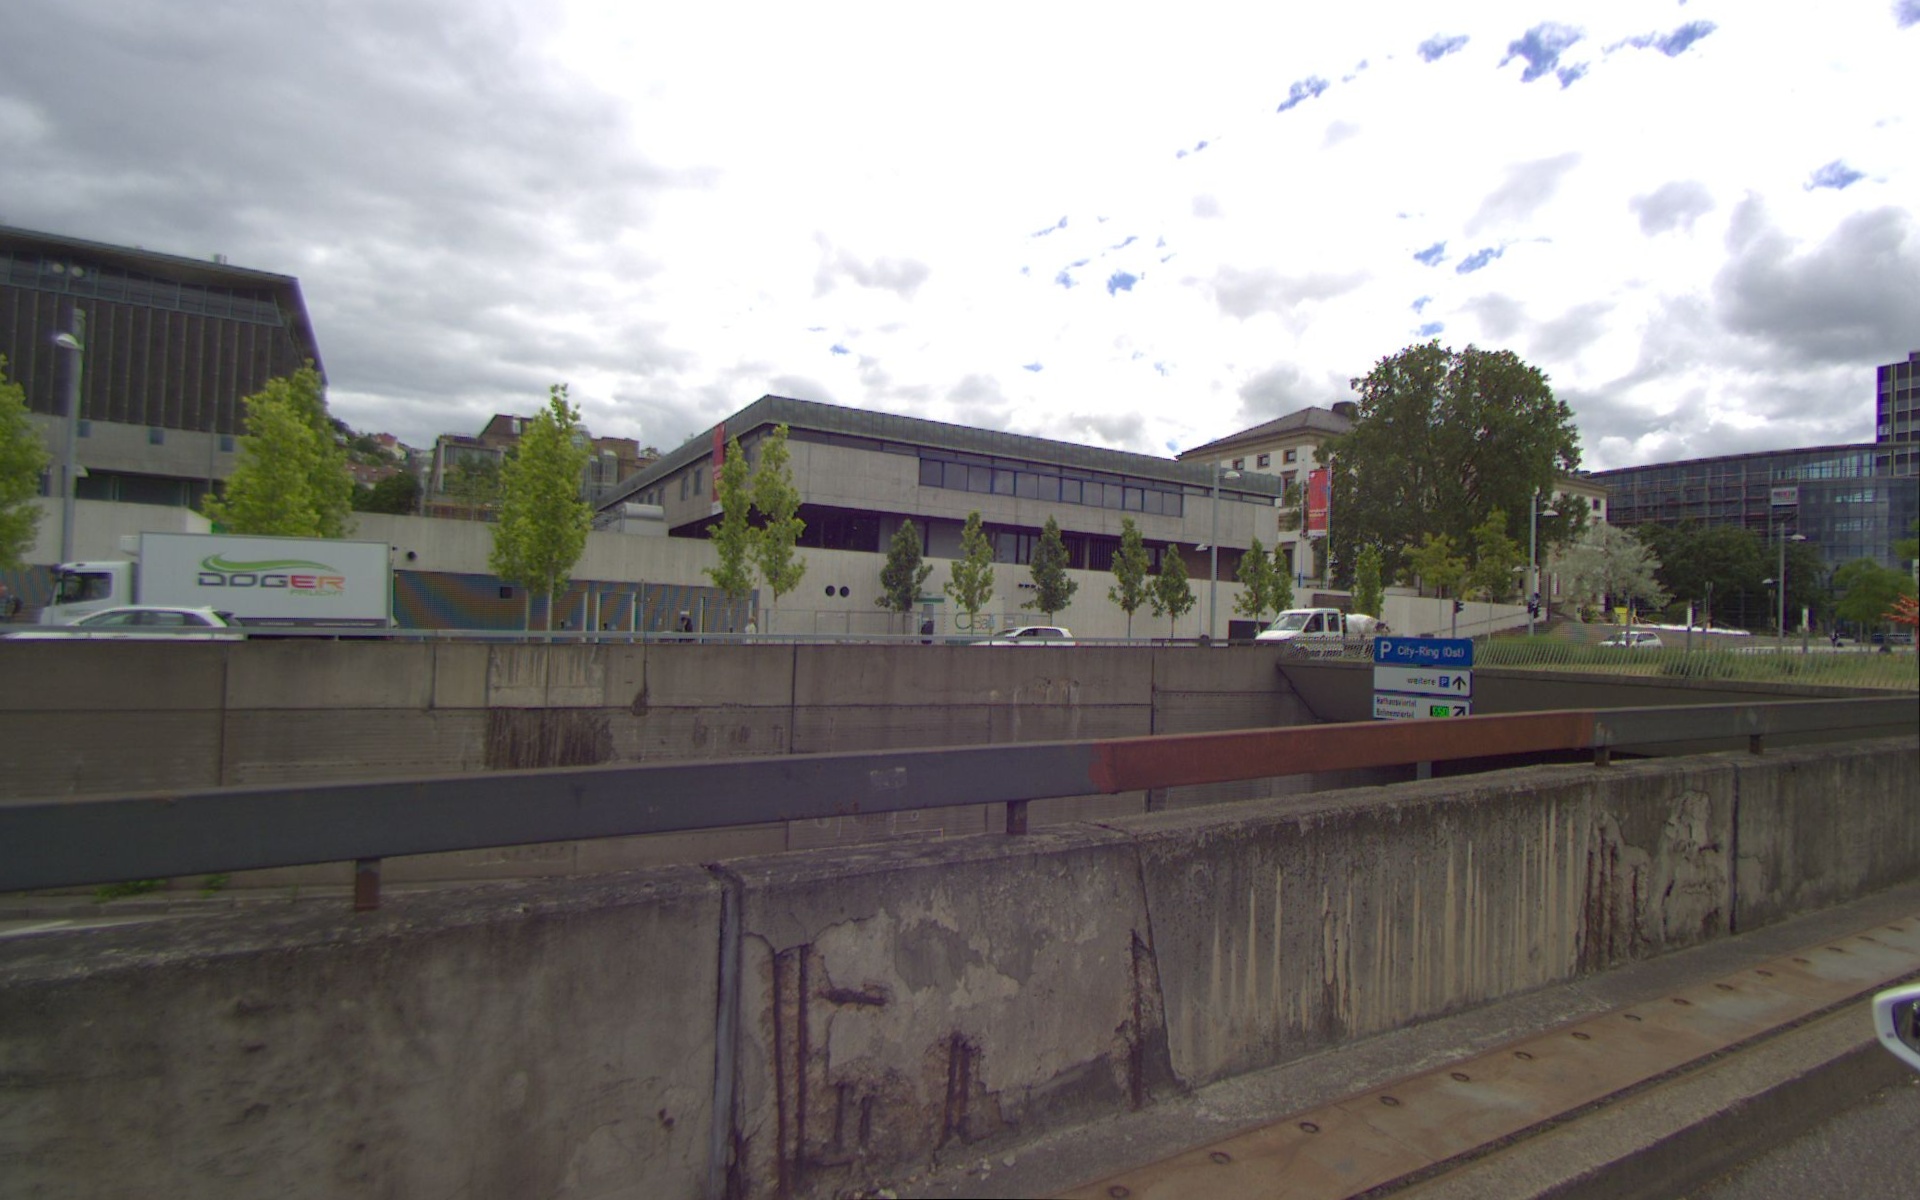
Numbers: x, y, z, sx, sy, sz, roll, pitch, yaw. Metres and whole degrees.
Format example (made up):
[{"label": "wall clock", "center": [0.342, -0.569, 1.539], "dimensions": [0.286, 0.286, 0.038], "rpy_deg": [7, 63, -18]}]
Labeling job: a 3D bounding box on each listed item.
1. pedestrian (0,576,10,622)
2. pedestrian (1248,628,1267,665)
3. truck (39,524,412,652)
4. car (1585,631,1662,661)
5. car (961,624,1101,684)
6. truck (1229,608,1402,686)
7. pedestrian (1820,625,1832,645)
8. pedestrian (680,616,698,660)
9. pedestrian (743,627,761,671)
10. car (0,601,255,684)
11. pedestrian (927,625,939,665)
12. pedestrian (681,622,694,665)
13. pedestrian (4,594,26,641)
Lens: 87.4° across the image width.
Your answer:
[{"label": "pedestrian", "center": [-32.448, -0.036, 33.928], "dimensions": [0.457, 1.542, 0.377], "rpy_deg": [1, 0, -36]}, {"label": "pedestrian", "center": [14.305, 2.226, 48.324], "dimensions": [0.655, 1.757, 0.537], "rpy_deg": [1, 0, -30]}, {"label": "truck", "center": [-17.943, -0.227, 25.346], "dimensions": [7.164, 2.825, 3.217], "rpy_deg": [1, 0, -29]}, {"label": "car", "center": [37.508, 2.580, 56.764], "dimensions": [4.555, 1.595, 1.712], "rpy_deg": [1, 0, -29]}, {"label": "car", "center": [2.330, 1.714, 32.938], "dimensions": [4.207, 1.840, 1.984], "rpy_deg": [1, 0, -30]}, {"label": "truck", "center": [14.185, 1.786, 39.958], "dimensions": [6.990, 2.854, 2.454], "rpy_deg": [1, 0, -28]}, {"label": "pedestrian", "center": [73.282, 2.929, 85.008], "dimensions": [0.643, 1.671, 0.521], "rpy_deg": [2, 0, -31]}, {"label": "pedestrian", "center": [-9.610, 1.356, 35.658], "dimensions": [0.457, 1.542, 0.458], "rpy_deg": [1, 0, -36]}, {"label": "pedestrian", "center": [-7.380, 1.729, 35.603], "dimensions": [0.457, 1.542, 0.424], "rpy_deg": [1, 0, -36]}, {"label": "car", "center": [-17.385, 0.849, 20.906], "dimensions": [4.217, 1.595, 1.712], "rpy_deg": [1, 0, -29]}, {"label": "pedestrian", "center": [-1.036, 1.747, 38.984], "dimensions": [0.314, 1.542, 0.315], "rpy_deg": [1, 0, -36]}, {"label": "pedestrian", "center": [-9.801, 1.561, 36.131], "dimensions": [0.314, 1.542, 0.410], "rpy_deg": [1, 0, -36]}, {"label": "pedestrian", "center": [-31.052, 0.572, 33.014], "dimensions": [0.457, 1.542, 0.377], "rpy_deg": [1, 0, -36]}]
